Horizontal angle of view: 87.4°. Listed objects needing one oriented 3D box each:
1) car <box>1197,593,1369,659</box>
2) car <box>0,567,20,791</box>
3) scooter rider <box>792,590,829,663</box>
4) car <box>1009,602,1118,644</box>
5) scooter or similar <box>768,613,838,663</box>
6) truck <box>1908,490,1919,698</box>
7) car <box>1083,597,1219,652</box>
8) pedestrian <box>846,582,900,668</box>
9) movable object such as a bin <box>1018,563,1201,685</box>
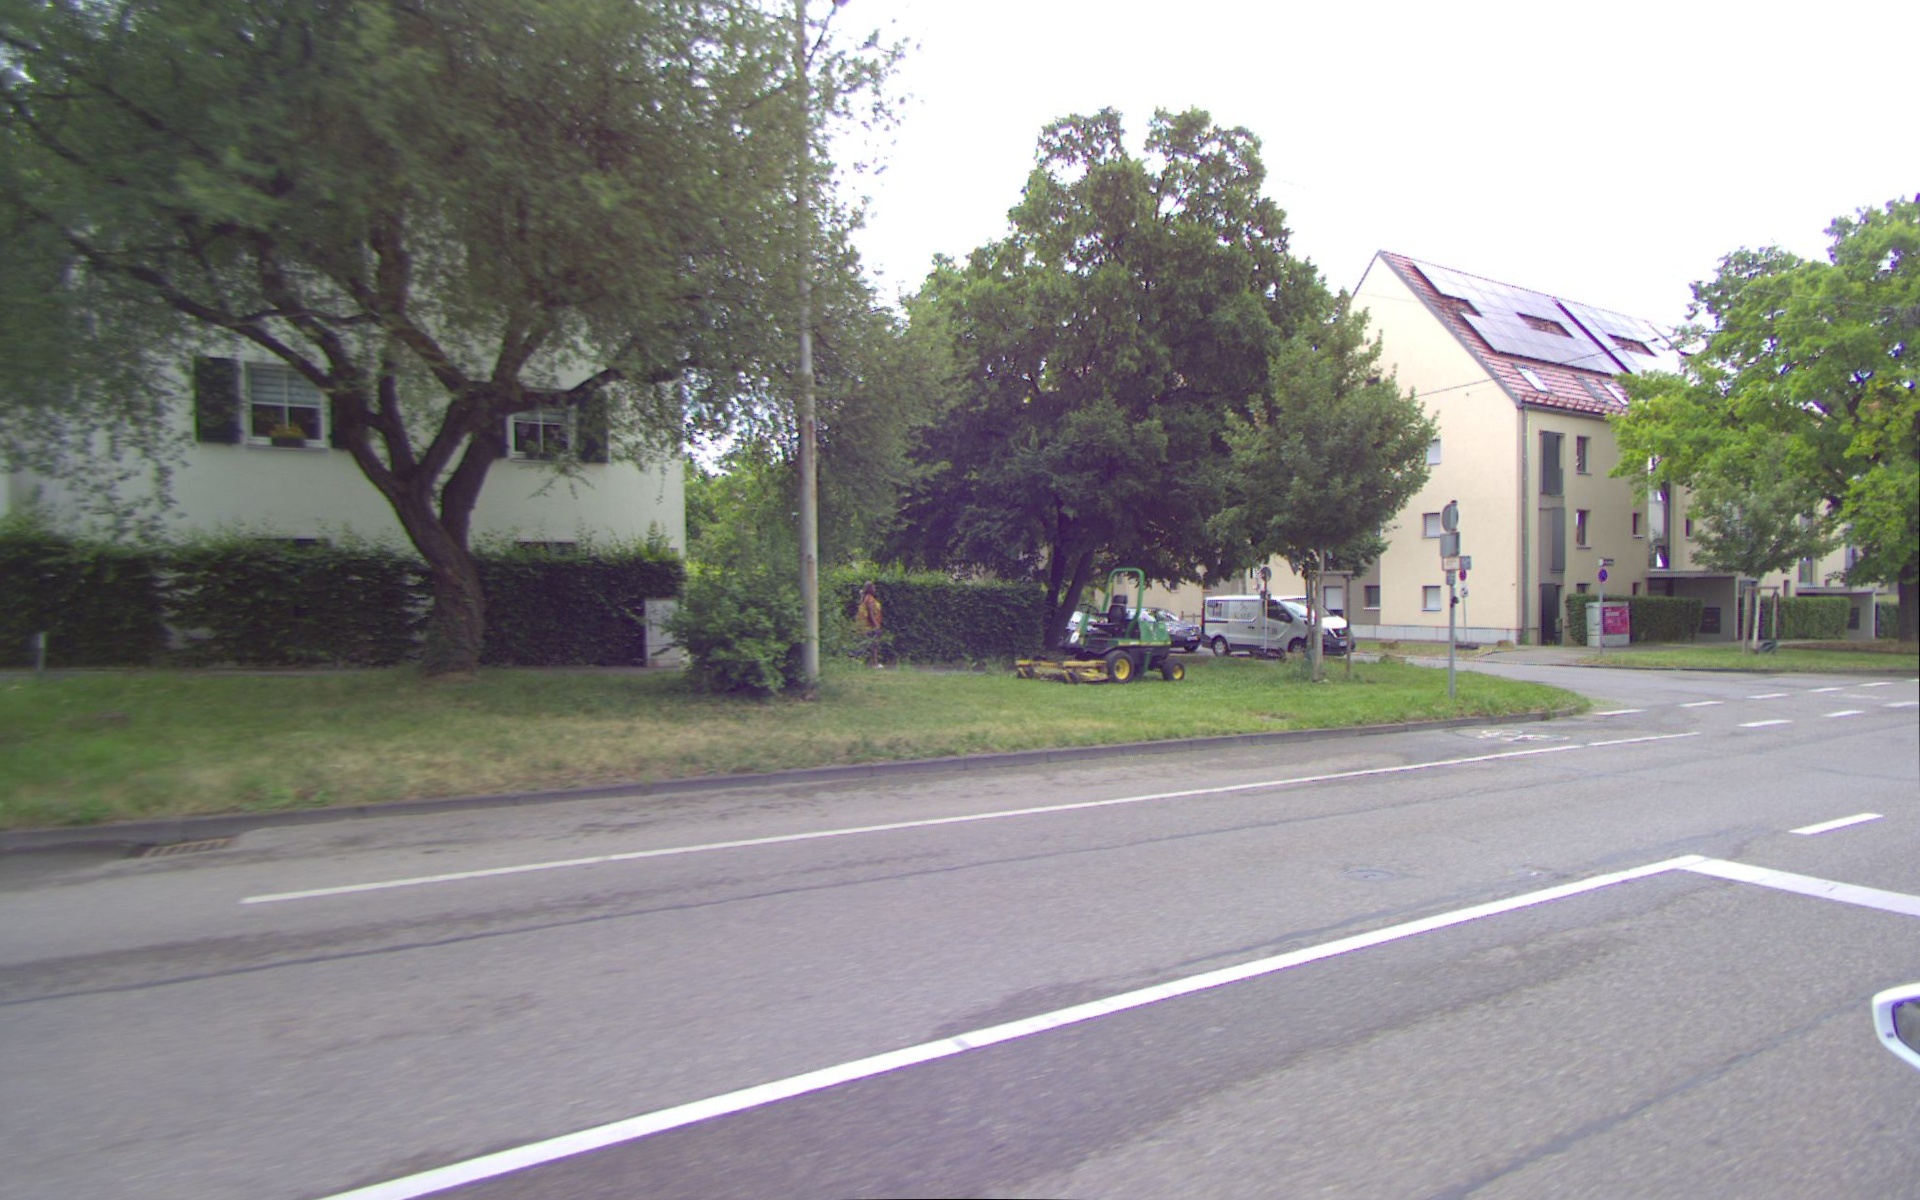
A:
[{"bbox_3d":[9.904,0.748,31.189,1.978,1.837,4.964,1,0,-32],"label":"car"},{"bbox_3d":[-8.844,0.536,5.774,4.697,1.655,1.753,1,0,-30],"label":"car"},{"bbox_3d":[-2.665,0.468,17.910,0.553,1.293,0.349,1,0,-30],"label":"scooter rider"},{"bbox_3d":[4.118,0.912,40.771,1.978,1.499,4.635,1,0,-32],"label":"car"},{"bbox_3d":[-2.783,0.677,17.855,1.187,0.854,0.324,1,0,-31],"label":"scooter or similar"},{"bbox_3d":[19.035,-0.037,15.217,7.110,3.351,2.539,1,0,-2],"label":"truck"},{"bbox_3d":[6.794,0.847,36.252,1.978,1.784,4.894,1,0,-32],"label":"car"},{"bbox_3d":[-1.695,0.473,19.556,0.821,1.635,0.626,1,0,-33],"label":"pedestrian"},{"bbox_3d":[2.594,0.407,17.250,2.990,1.929,1.211,1,0,-31],"label":"movable object such as a bin"}]
